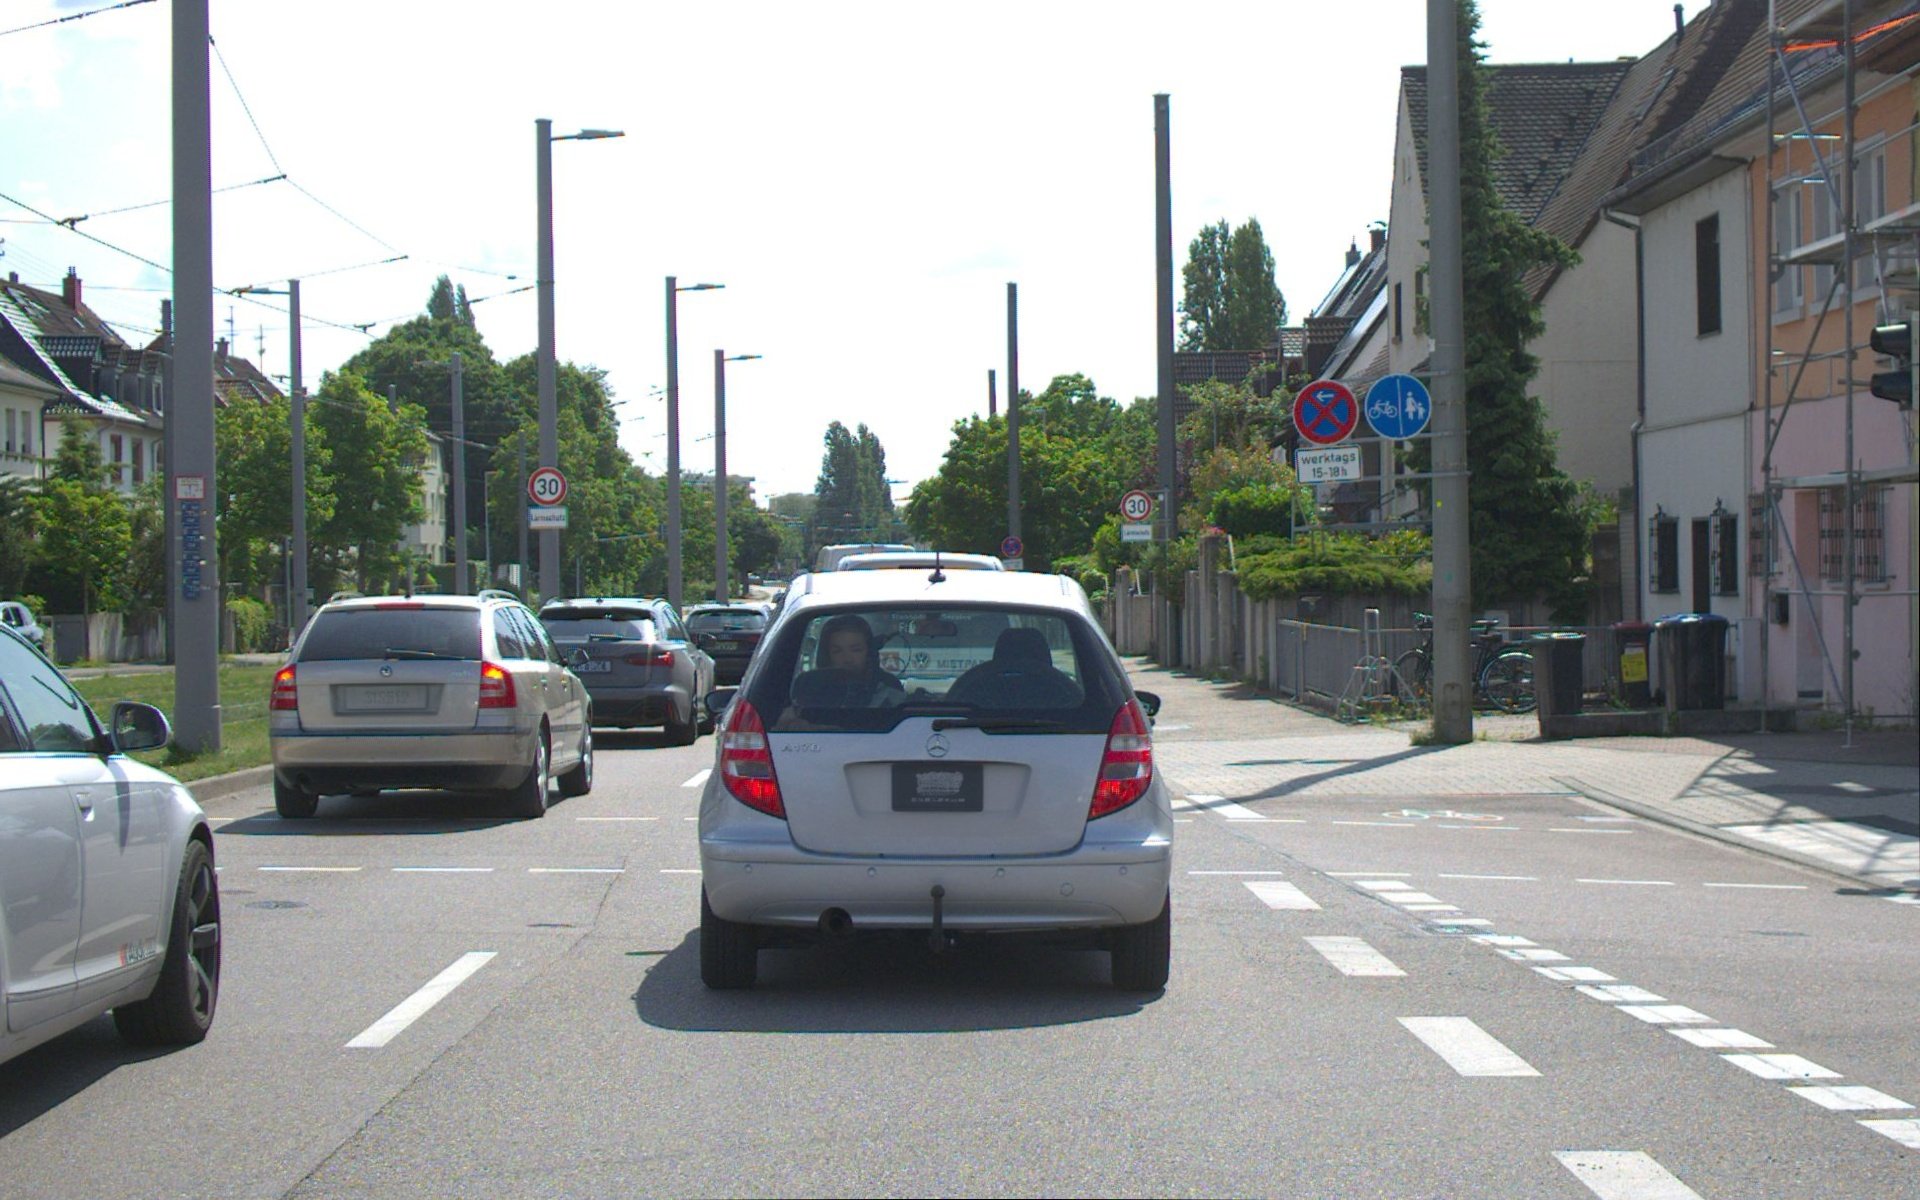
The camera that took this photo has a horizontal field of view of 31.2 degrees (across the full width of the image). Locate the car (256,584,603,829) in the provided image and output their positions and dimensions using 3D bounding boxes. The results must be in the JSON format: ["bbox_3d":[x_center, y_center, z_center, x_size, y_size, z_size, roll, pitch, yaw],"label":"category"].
[{"bbox_3d":[-3.506,0.650,23.384,1.731,1.444,4.123,1,1,0],"label":"car"}]

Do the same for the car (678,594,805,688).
[{"bbox_3d":[-3.387,0.624,53.859,1.852,1.384,4.514,1,0,-2],"label":"car"}]

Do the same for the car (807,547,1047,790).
[{"bbox_3d":[-0.298,0.504,27.153,1.730,1.756,4.017,1,0,-2],"label":"car"}]

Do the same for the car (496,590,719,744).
[{"bbox_3d":[-3.603,0.649,35.822,1.916,1.472,4.562,1,0,-1],"label":"car"}]

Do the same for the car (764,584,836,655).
[{"bbox_3d":[-4.265,0.519,92.047,1.852,1.837,3.919,1,0,-2],"label":"car"}]

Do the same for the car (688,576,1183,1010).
[{"bbox_3d":[-0.182,0.687,14.169,1.730,1.512,4.017,1,0,-3],"label":"car"}]

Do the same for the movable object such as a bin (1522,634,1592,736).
[{"bbox_3d":[5.455,0.772,31.446,0.511,0.915,0.741,0,0,0],"label":"movable object such as a bin"}]

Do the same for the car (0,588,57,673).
[{"bbox_3d":[-20.477,0.649,71.815,2.014,1.706,4.937,-2,0,-1],"label":"car"}]

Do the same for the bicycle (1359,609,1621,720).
[{"bbox_3d":[5.783,0.699,37.595,2.726,1.116,0.691,-2,0,-1],"label":"bicycle"}]

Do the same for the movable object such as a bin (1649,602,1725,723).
[{"bbox_3d":[6.665,0.567,31.554,0.511,1.101,0.855,0,0,0],"label":"movable object such as a bin"}]

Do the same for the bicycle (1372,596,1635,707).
[{"bbox_3d":[5.813,0.547,36.883,2.661,1.101,0.786,-2,0,-1],"label":"bicycle"}]

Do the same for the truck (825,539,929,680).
[{"bbox_3d":[-1.616,0.179,65.384,1.852,2.543,5.855,1,0,-2],"label":"truck"}]

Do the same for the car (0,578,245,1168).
[{"bbox_3d":[-3.304,0.672,9.461,1.794,1.467,4.722,0,0,-1],"label":"car"}]

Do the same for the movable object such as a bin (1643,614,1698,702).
[{"bbox_3d":[7.712,0.628,37.326,0.468,0.943,0.558,-1,0,-1],"label":"movable object such as a bin"}]

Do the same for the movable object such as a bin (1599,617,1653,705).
[{"bbox_3d":[7.229,0.662,37.330,0.468,0.943,0.558,-1,0,-1],"label":"movable object such as a bin"}]
